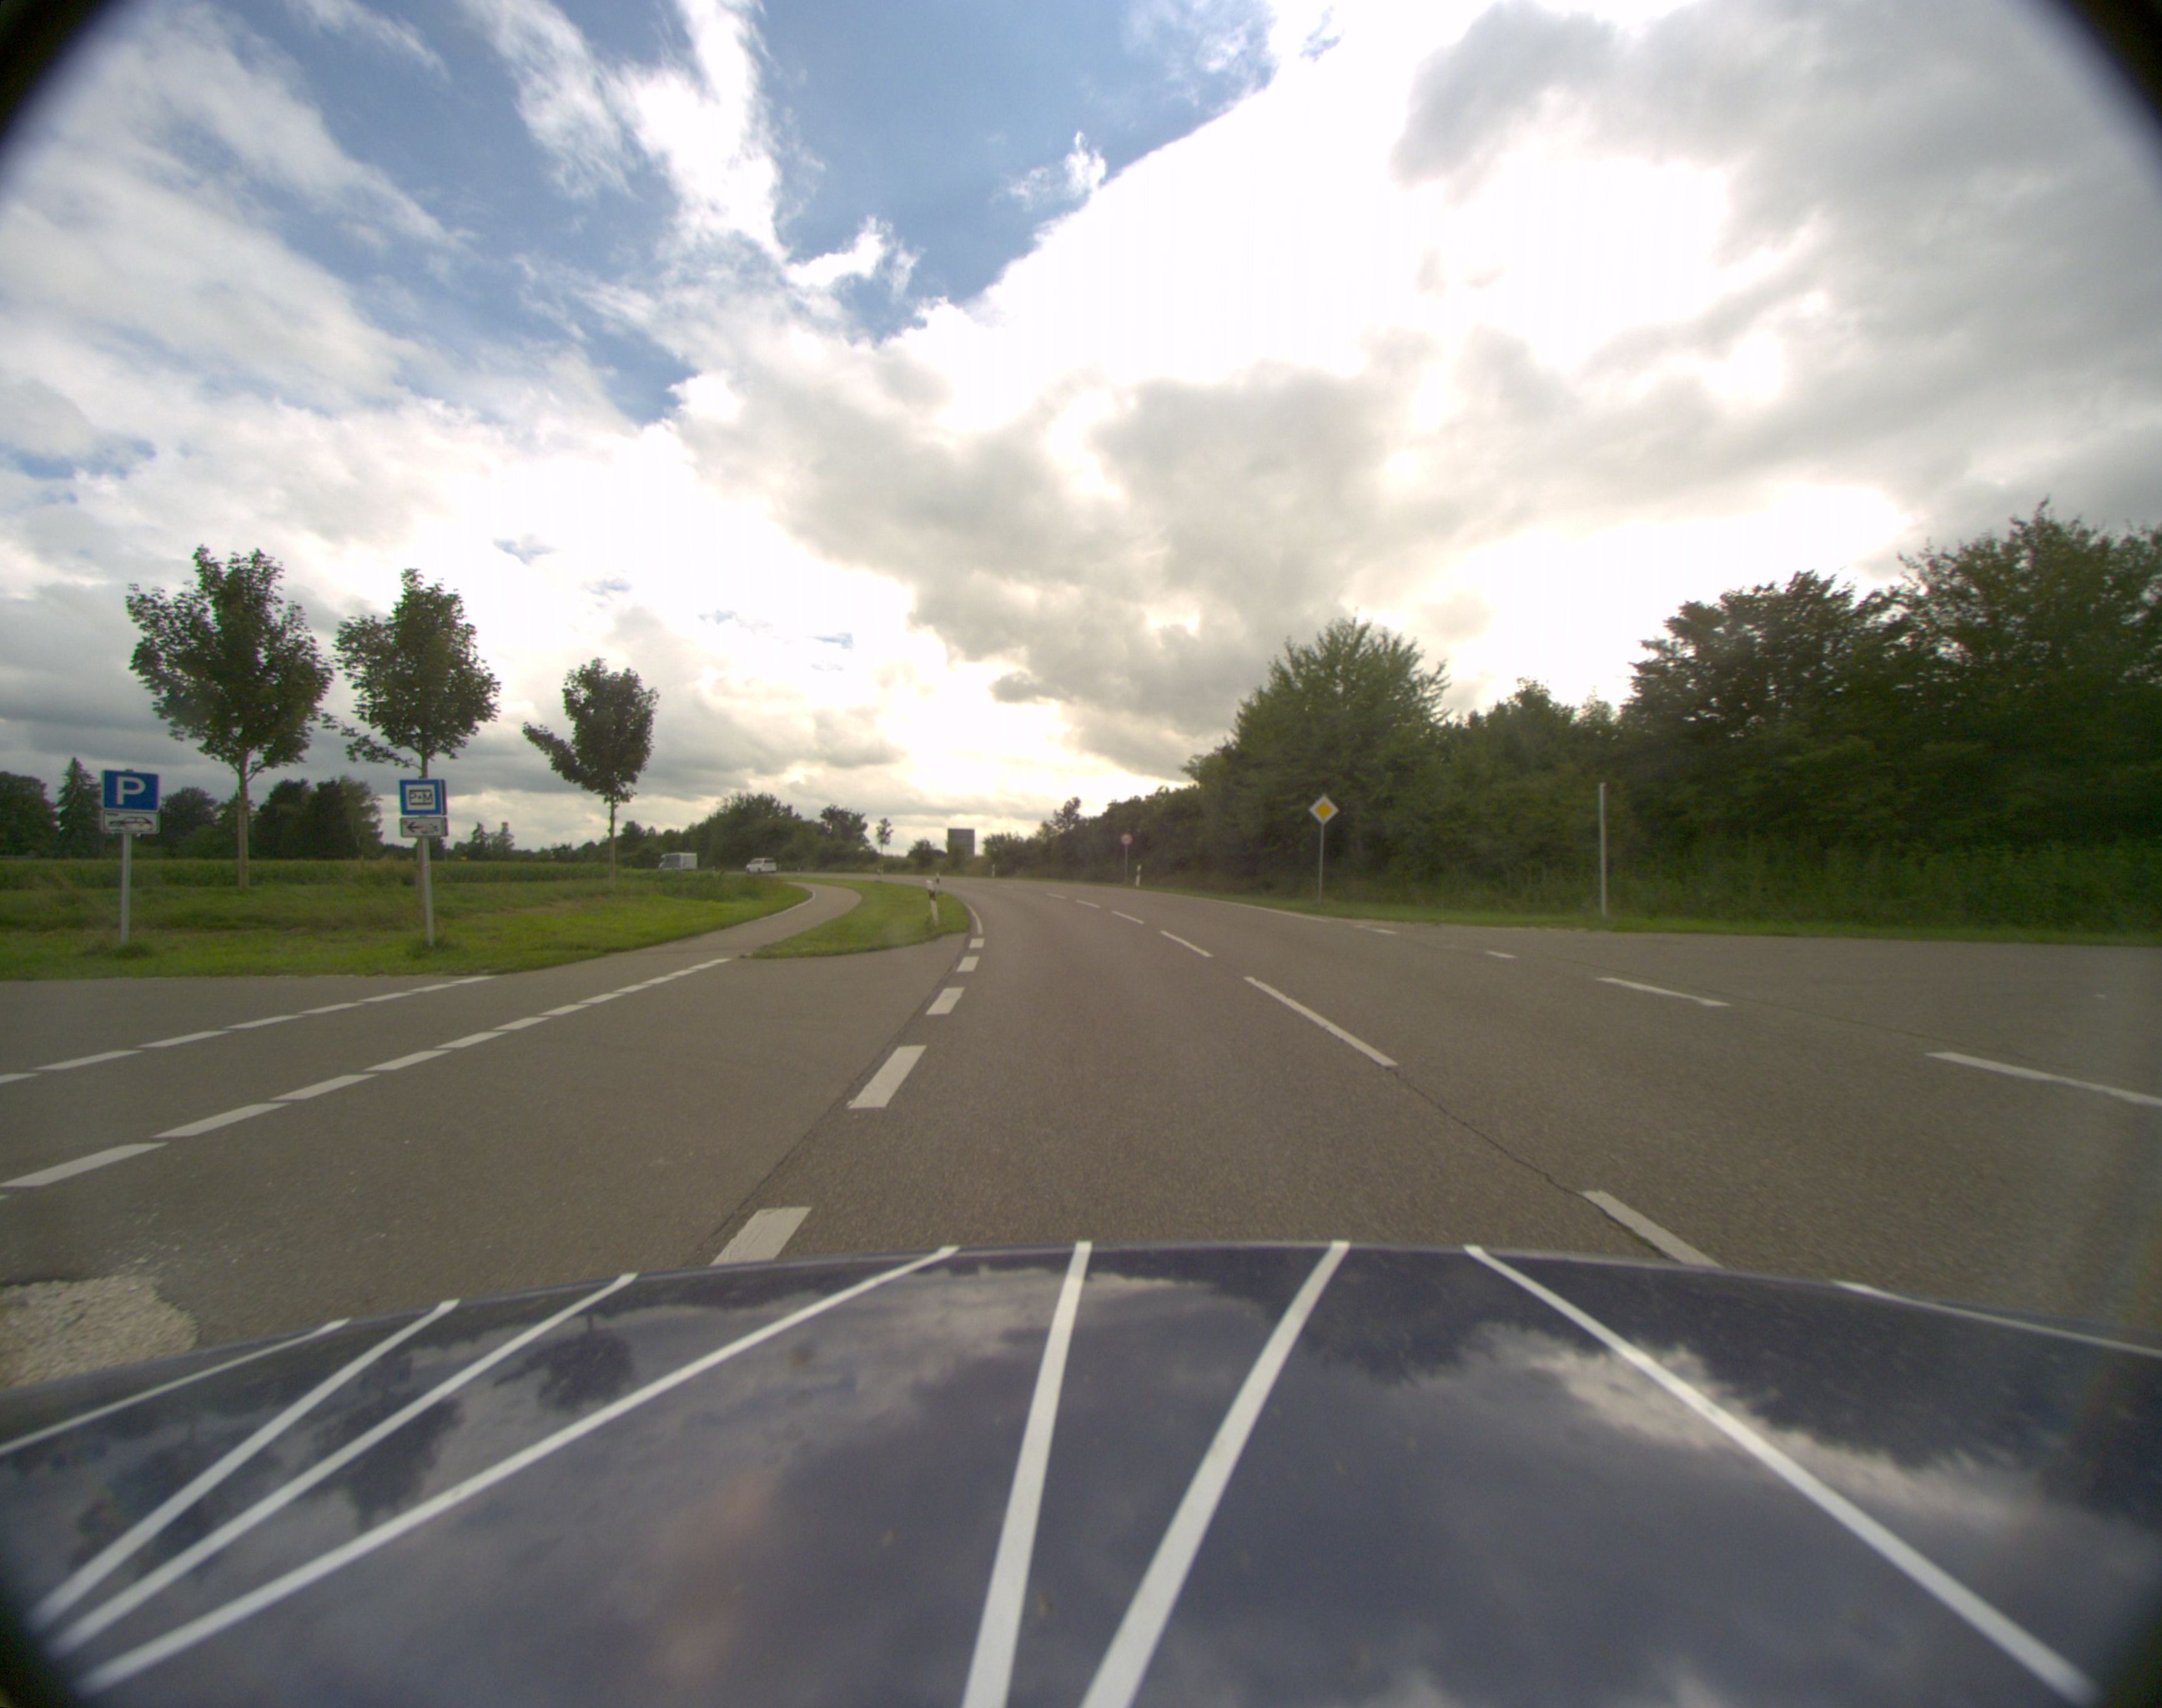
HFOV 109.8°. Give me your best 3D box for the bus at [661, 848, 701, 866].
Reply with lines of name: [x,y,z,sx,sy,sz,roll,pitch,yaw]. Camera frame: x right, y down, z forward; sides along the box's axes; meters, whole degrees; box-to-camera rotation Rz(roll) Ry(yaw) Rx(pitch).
bus: [-59.444,0.459,112.825,8.406,2.695,2.488,0,1,42]

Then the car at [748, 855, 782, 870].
car: [-40.724,1.141,97.854,5.171,1.858,2.124,0,0,44]
